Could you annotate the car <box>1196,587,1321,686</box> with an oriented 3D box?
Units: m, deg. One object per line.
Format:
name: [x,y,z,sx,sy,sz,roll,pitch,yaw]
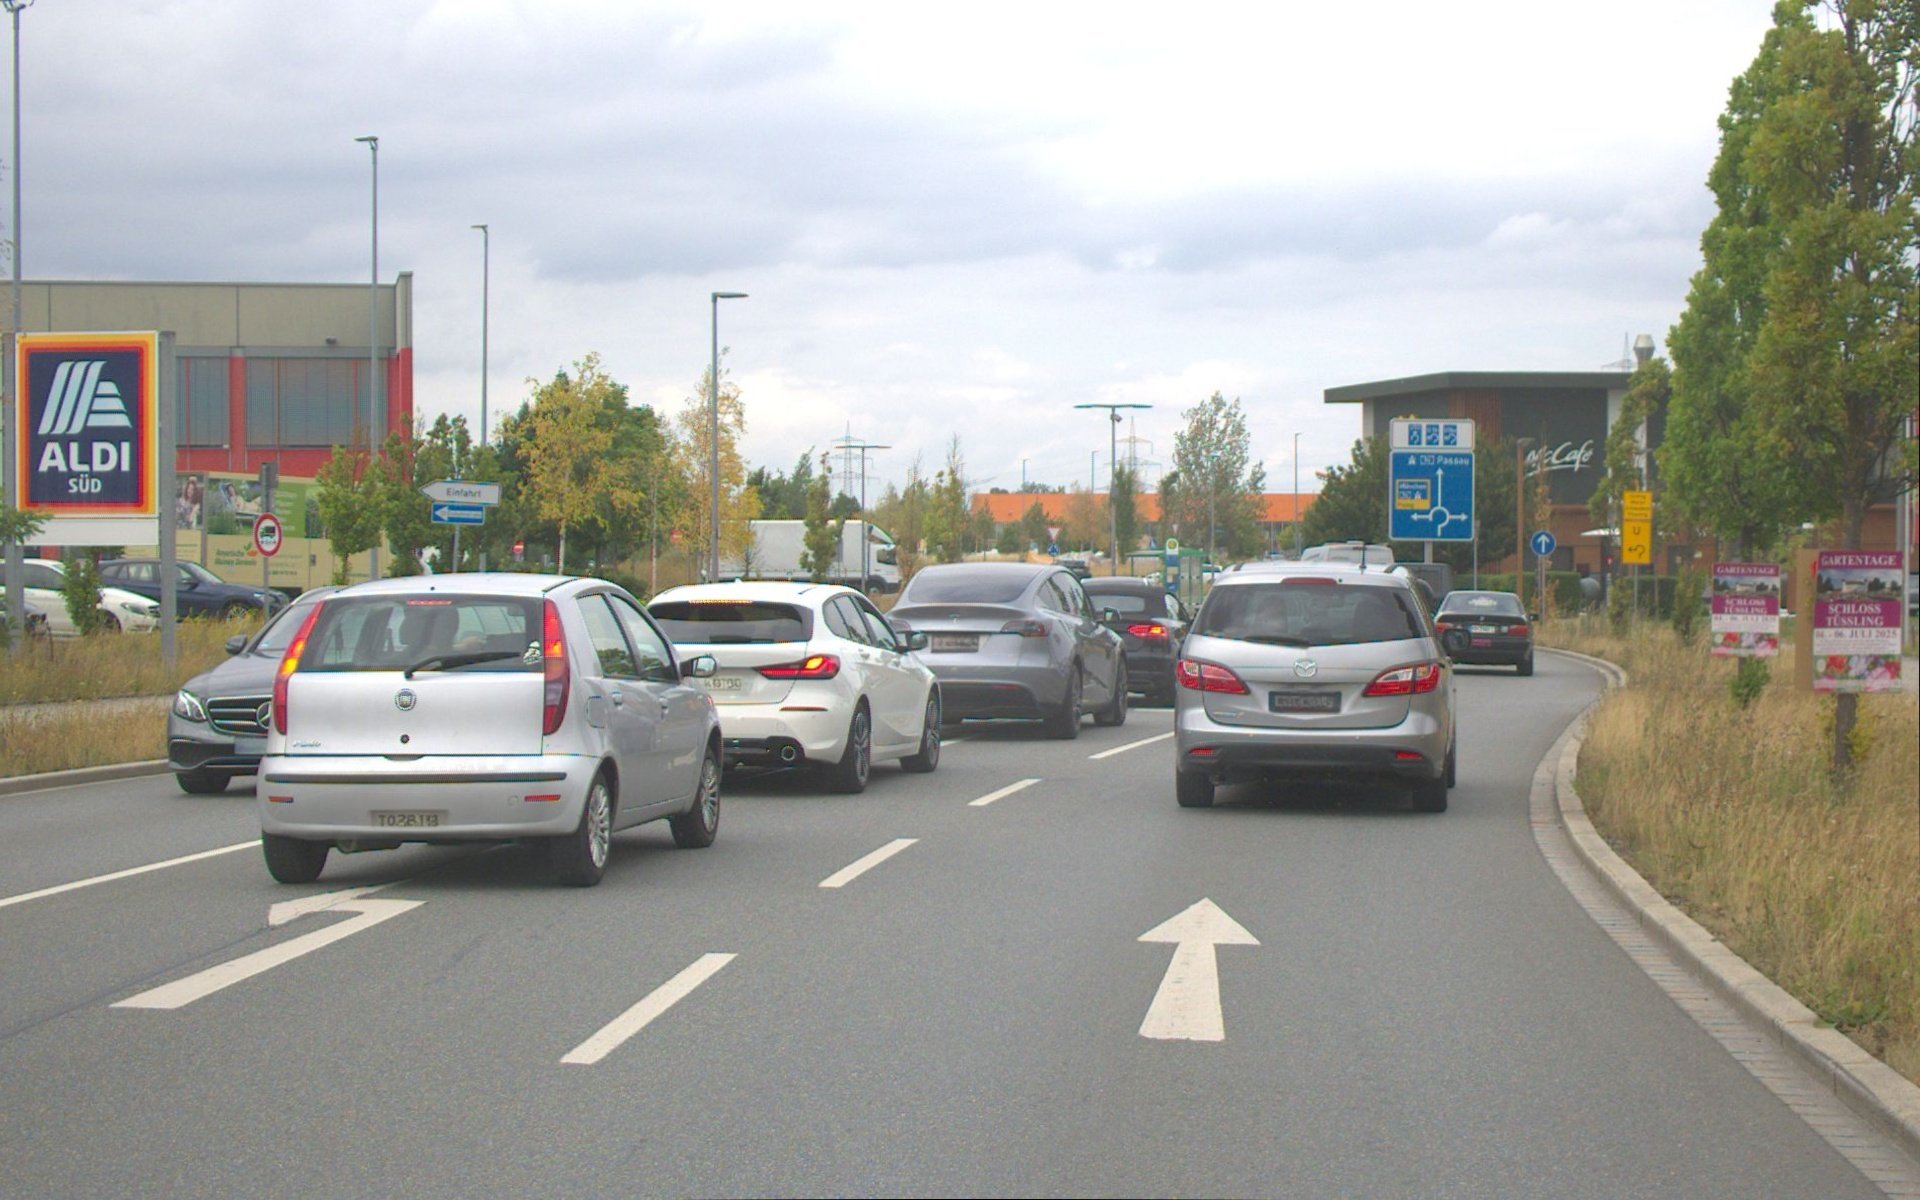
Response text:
car: [4.620,0.534,52.939,1.830,1.415,4.245,1,1,6]

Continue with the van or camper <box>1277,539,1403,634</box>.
van or camper: [10.363,-0.386,94.177,2.302,2.497,5.207,1,1,-6]

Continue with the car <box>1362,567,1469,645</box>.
car: [11.000,0.137,83.271,2.058,1.819,4.786,0,0,2]

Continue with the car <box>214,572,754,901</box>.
car: [-2.271,0.592,17.464,1.703,1.433,4.031,0,1,8]

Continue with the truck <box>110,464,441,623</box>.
truck: [-15.886,-1.291,80.528,2.854,3.529,8.416,1,1,28]

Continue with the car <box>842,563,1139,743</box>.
car: [0.375,0.437,32.506,1.994,1.556,4.611,0,1,11]

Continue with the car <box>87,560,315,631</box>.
car: [-15.808,-0.104,71.725,4.232,1.430,1.997,0,1,5]

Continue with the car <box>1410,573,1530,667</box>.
car: [8.292,0.294,55.761,1.845,1.413,4.223,0,1,9]

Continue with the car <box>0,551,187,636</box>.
car: [-16.793,-0.131,64.200,4.247,1.554,1.989,0,1,1]

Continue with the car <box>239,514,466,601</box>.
car: [-16.678,-1.153,94.561,6.067,2.299,2.211,0,0,-9]

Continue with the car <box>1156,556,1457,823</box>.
car: [2.398,0.531,23.037,1.730,1.594,3.805,1,1,9]

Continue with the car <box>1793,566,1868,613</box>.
car: [32.928,-0.394,129.995,1.996,1.711,3.995,1,1,25]

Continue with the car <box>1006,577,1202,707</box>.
car: [1.748,0.470,40.456,1.769,1.433,4.229,0,0,10]

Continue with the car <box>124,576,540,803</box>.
car: [-4.550,0.595,25.660,1.785,1.484,4.766,-1,1,6]

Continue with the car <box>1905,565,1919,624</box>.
car: [28.890,-0.148,96.138,4.346,1.634,1.938,0,1,-10]

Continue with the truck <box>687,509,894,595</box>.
truck: [-7.840,-2.183,158.501,9.302,3.893,3.144,0,0,-8]

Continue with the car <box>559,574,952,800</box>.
car: [-1.351,0.557,24.497,1.881,1.463,4.191,0,0,10]

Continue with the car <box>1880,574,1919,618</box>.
car: [30.076,-0.128,107.349,1.814,1.308,3.844,0,1,27]

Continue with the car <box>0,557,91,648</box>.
car: [-17.327,0.012,58.886,4.244,1.508,2.045,1,1,11]
